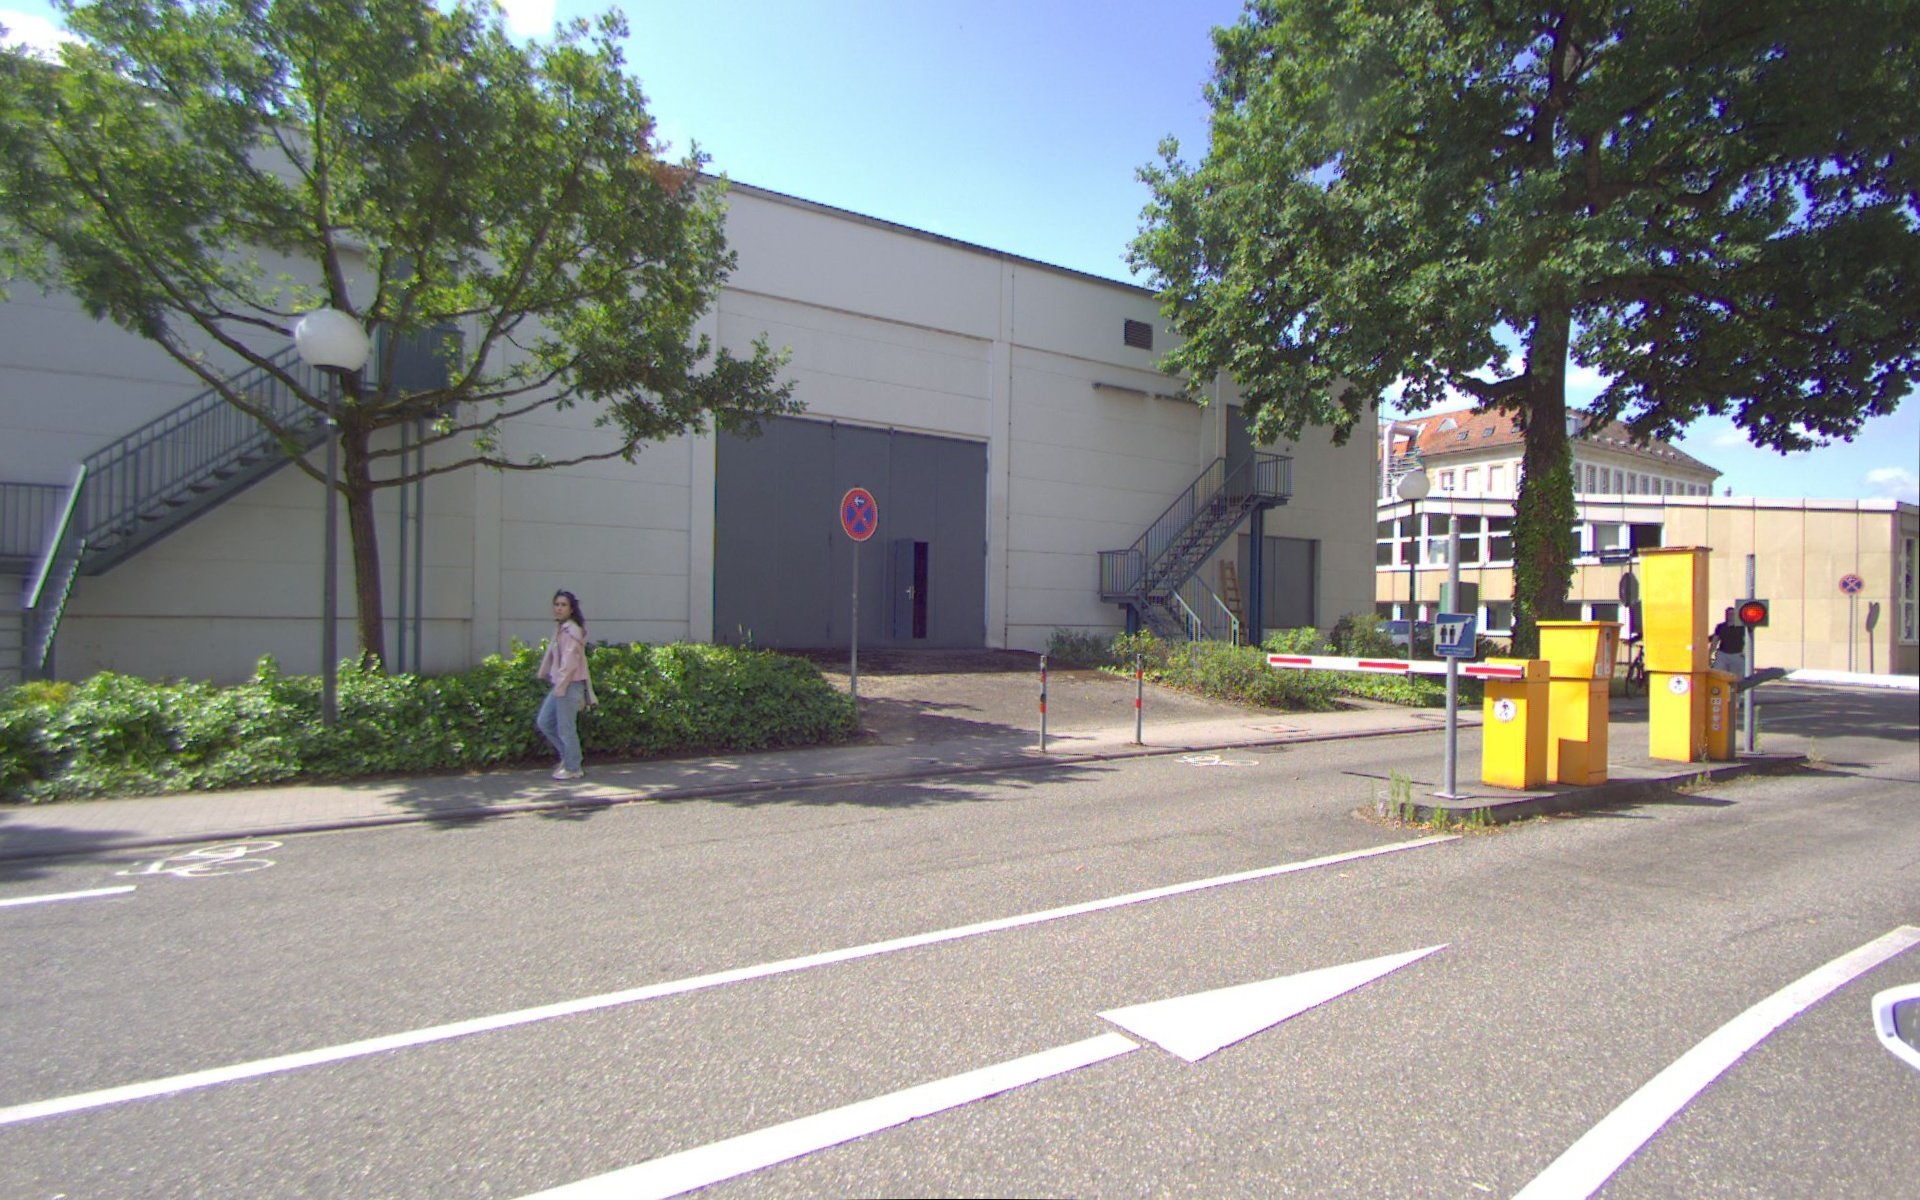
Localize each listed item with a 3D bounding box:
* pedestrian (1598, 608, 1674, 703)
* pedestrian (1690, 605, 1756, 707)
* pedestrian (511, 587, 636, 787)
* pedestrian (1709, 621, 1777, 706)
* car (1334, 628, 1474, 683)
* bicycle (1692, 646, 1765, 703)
[{"bbox_3d":[13.510,1.088,20.078,0.798,1.840,1.050,1,-1,-33],"label":"pedestrian"},{"bbox_3d":[14.229,1.020,18.728,0.991,1.833,0.701,1,-1,-34],"label":"pedestrian"},{"bbox_3d":[-3.391,0.725,8.805,0.874,1.648,0.709,1,-1,-34],"label":"pedestrian"},{"bbox_3d":[15.432,1.226,19.807,0.797,1.607,0.849,1,-1,-34],"label":"pedestrian"},{"bbox_3d":[13.121,1.579,29.597,4.254,1.486,1.818,1,-1,-34],"label":"car"},{"bbox_3d":[15.769,1.507,20.595,1.880,1.063,0.641,1,-1,-34],"label":"bicycle"}]
